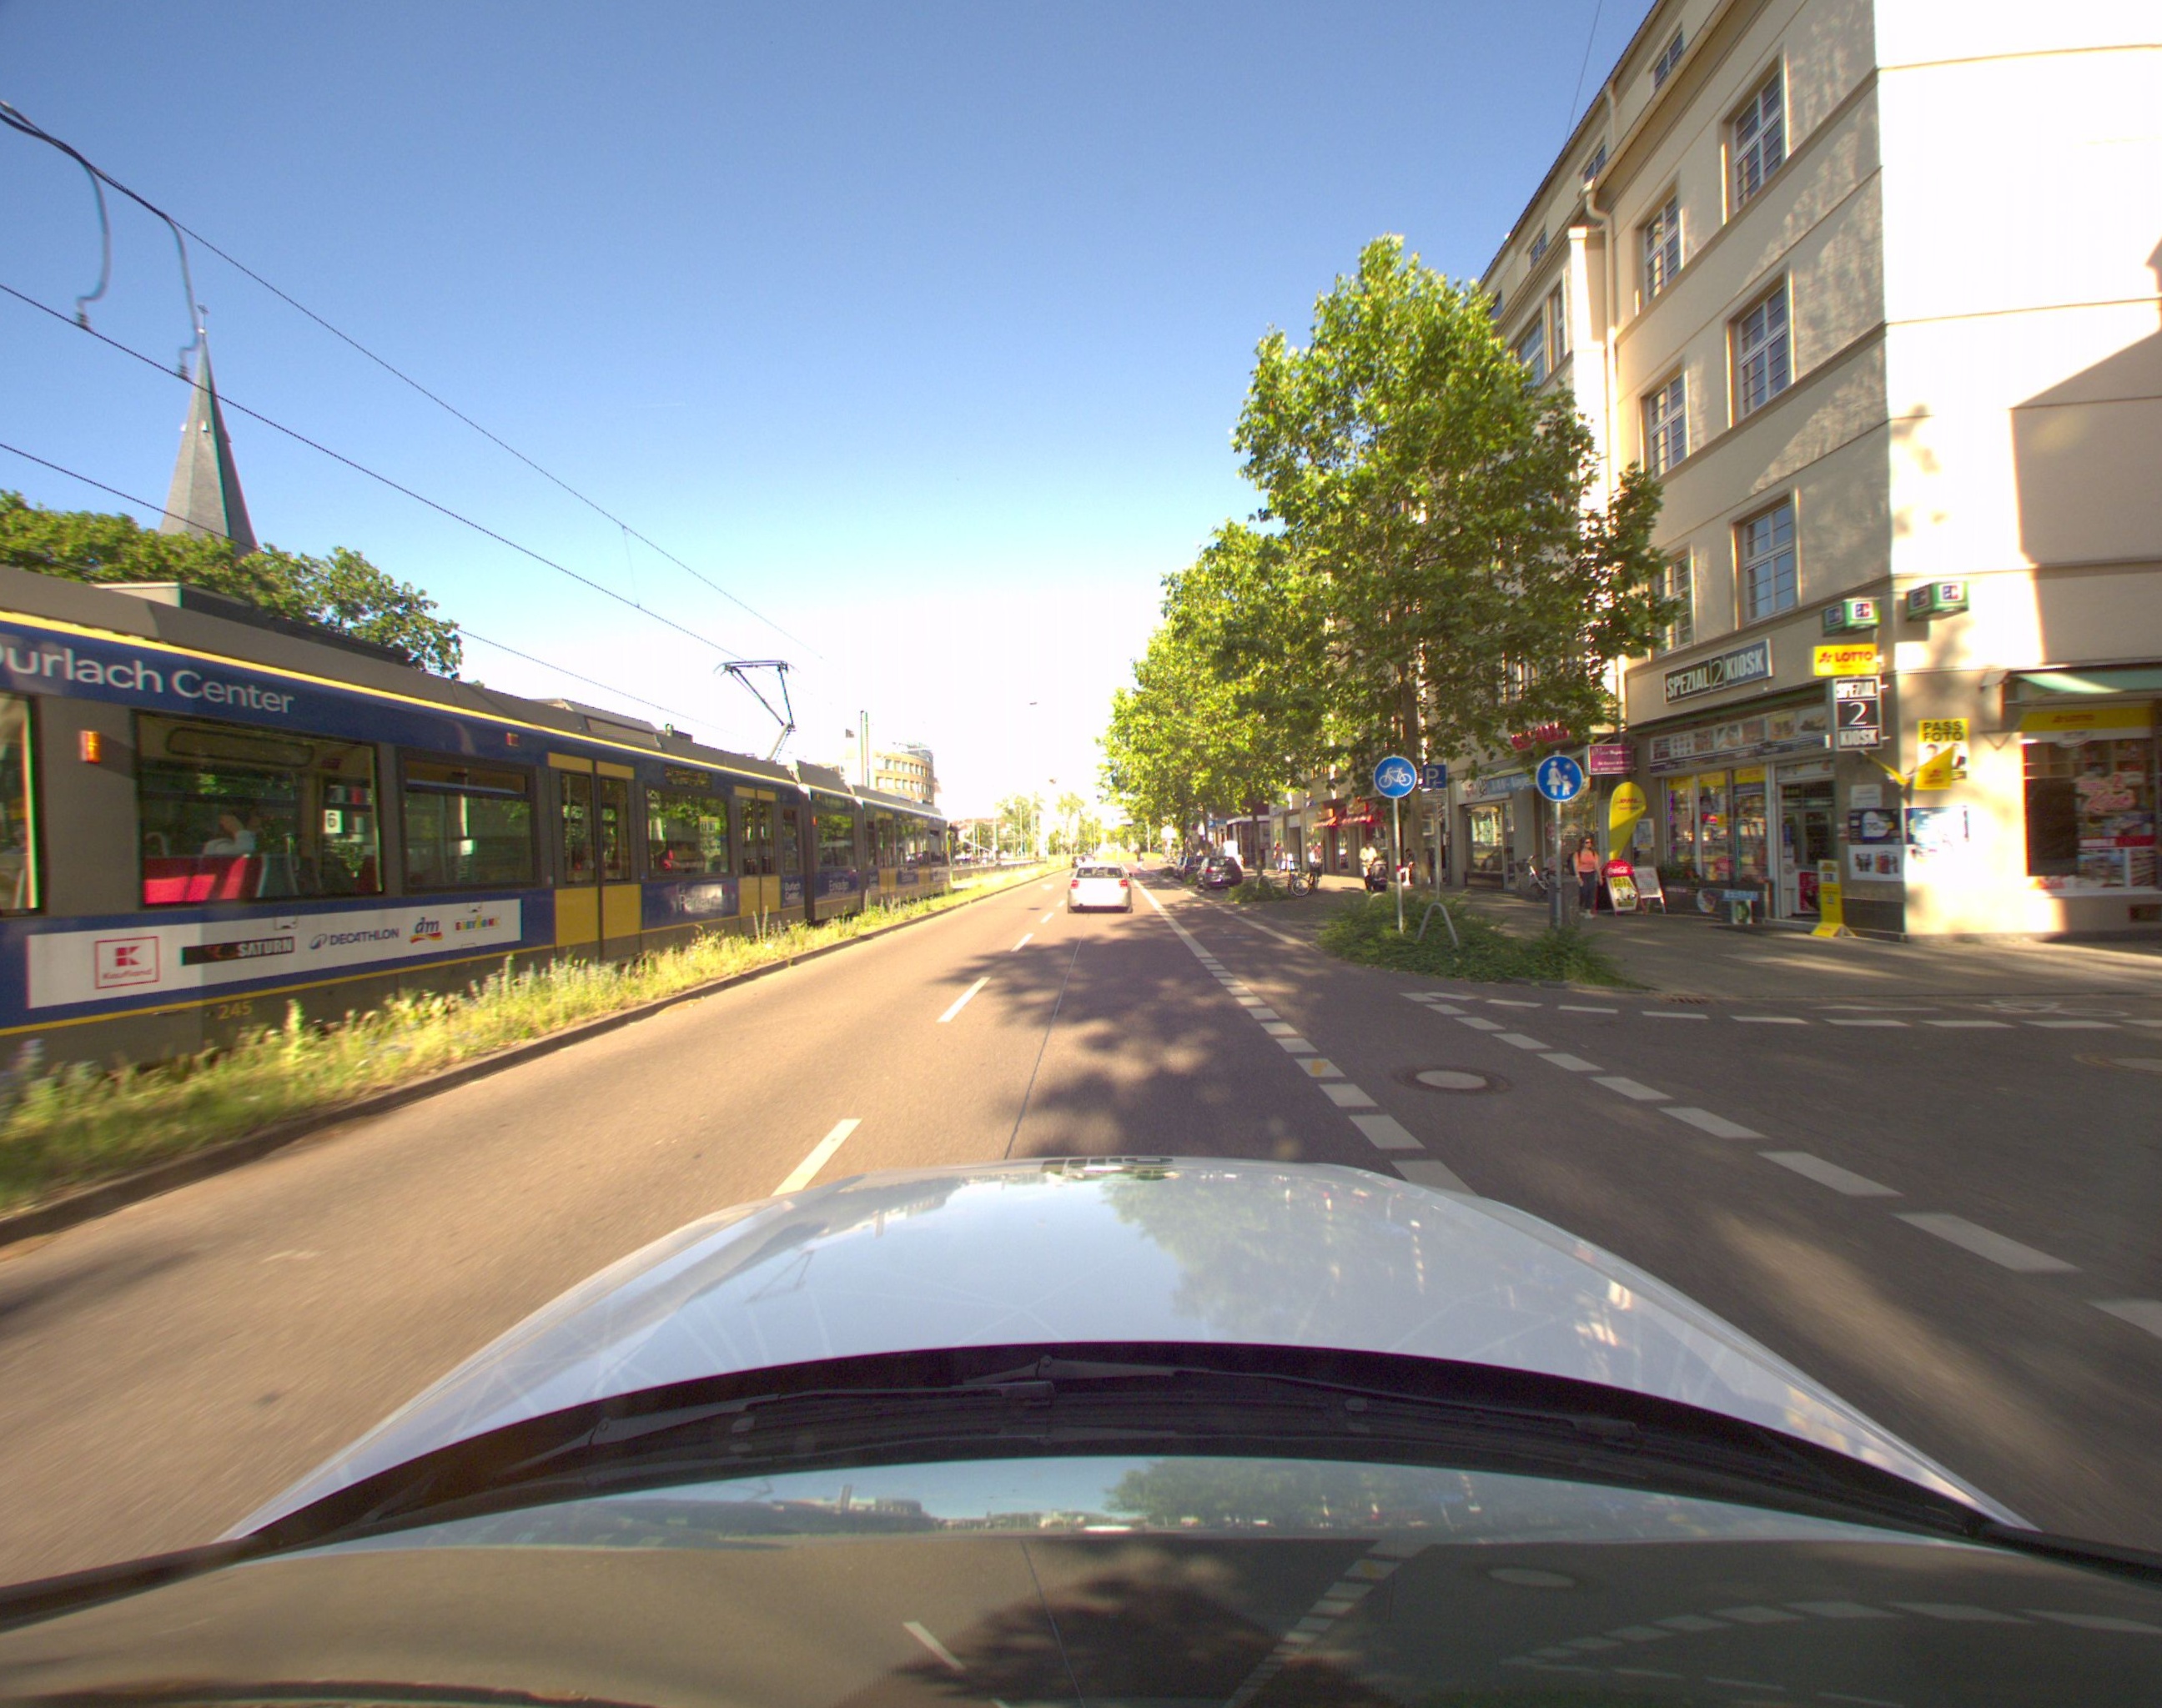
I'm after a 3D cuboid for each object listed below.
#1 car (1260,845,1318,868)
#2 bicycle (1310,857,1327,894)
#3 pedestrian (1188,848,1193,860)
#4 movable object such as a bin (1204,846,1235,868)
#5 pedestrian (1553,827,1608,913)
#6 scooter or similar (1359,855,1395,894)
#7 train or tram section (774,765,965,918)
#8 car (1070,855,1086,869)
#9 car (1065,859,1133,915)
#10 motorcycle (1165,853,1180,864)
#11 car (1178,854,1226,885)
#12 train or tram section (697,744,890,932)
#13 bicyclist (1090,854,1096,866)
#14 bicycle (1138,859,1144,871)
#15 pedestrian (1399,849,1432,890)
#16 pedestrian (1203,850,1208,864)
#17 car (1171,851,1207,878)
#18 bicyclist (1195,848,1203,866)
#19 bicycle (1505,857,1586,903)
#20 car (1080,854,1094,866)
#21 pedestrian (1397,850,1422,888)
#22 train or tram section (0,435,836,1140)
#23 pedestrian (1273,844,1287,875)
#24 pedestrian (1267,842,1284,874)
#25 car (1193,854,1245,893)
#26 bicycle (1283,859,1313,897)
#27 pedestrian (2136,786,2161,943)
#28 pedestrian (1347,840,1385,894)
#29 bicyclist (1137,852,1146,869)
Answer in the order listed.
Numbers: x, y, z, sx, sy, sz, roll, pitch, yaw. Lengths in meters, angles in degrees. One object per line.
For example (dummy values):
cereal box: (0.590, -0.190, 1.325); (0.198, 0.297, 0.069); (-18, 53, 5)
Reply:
car: (17.123, 0.206, 67.109); (4.283, 1.788, 1.996); (-1, -1, 1)
bicycle: (8.162, 0.709, 28.012); (0.382, 1.207, 1.883); (-2, 0, 20)
pedestrian: (18.318, -0.023, 135.891); (0.786, 2.014, 0.872); (0, 0, 9)
movable object such as a bin: (12.421, 0.206, 73.170); (1.941, 1.843, 3.476); (-2, 1, -4)
pedestrian: (9.791, 0.306, 15.972); (0.680, 1.621, 0.562); (-2, 0, -1)
scooter or similar: (9.379, 0.641, 25.824); (0.742, 1.171, 0.849); (-3, 0, -1)
train or tram section: (-6.176, -0.310, 26.204); (2.941, 3.897, 10.808); (0, 0, 2)
car: (-0.309, 0.859, 92.222); (1.721, 1.470, 4.409); (-1, 0, 0)
car: (0.536, 0.888, 23.510); (1.791, 1.415, 4.002); (-1, 0, 2)
motorcycle: (11.809, 0.590, 104.922); (1.846, 1.301, 0.653); (-2, 0, 5)
car: (6.464, 0.783, 43.906); (2.031, 1.509, 4.596); (-2, 0, 2)
train or tram section: (-6.424, -0.327, 18.849); (2.943, 3.897, 3.868); (0, 0, 2)
bicyclist: (1.584, 0.803, 105.879); (0.616, 1.571, 0.684); (-2, 0, -10)
bicycle: (5.768, 1.063, 77.796); (0.497, 1.088, 1.998); (0, 0, 2)
pedestrian: (11.695, 0.528, 28.481); (0.782, 1.369, 0.857); (-3, 0, 2)
pedestrian: (14.629, 0.326, 95.755); (0.570, 1.582, 0.557); (-2, 0, 2)
car: (6.767, 0.632, 51.502); (1.782, 1.555, 4.438); (-2, 0, 2)
bicyclist: (11.073, 0.301, 76.329); (0.597, 1.690, 0.599); (-2, 0, 12)
bicycle: (11.302, 0.591, 19.926); (0.488, 1.024, 2.624); (-4, 0, 2)
car: (0.788, 0.718, 100.254); (1.638, 1.421, 4.002); (-1, 0, 2)
pedestrian: (11.846, 0.540, 29.361); (0.533, 1.332, 0.821); (-3, 0, 2)
train or tram section: (-6.969, -0.346, 9.736); (2.916, 3.812, 14.287); (0, 0, 4)
pedestrian: (10.999, 0.306, 44.986); (0.555, 1.711, 0.770); (-2, 0, 2)
pedestrian: (11.659, 0.233, 48.826); (0.711, 1.900, 0.864); (-2, 0, 2)
car: (6.077, 0.822, 36.240); (1.688, 1.502, 3.803); (-4, 0, 2)
bicycle: (7.367, 0.818, 27.685); (0.391, 1.215, 1.901); (-3, -1, -2)
pedestrian: (13.351, 0.129, 9.805); (0.551, 1.903, 0.586); (0, 0, -9)
pedestrian: (9.357, 0.410, 26.774); (0.856, 1.704, 0.916); (-3, 0, -1)
bicyclist: (5.792, 0.621, 77.862); (0.782, 1.531, 0.895); (0, 0, 2)
